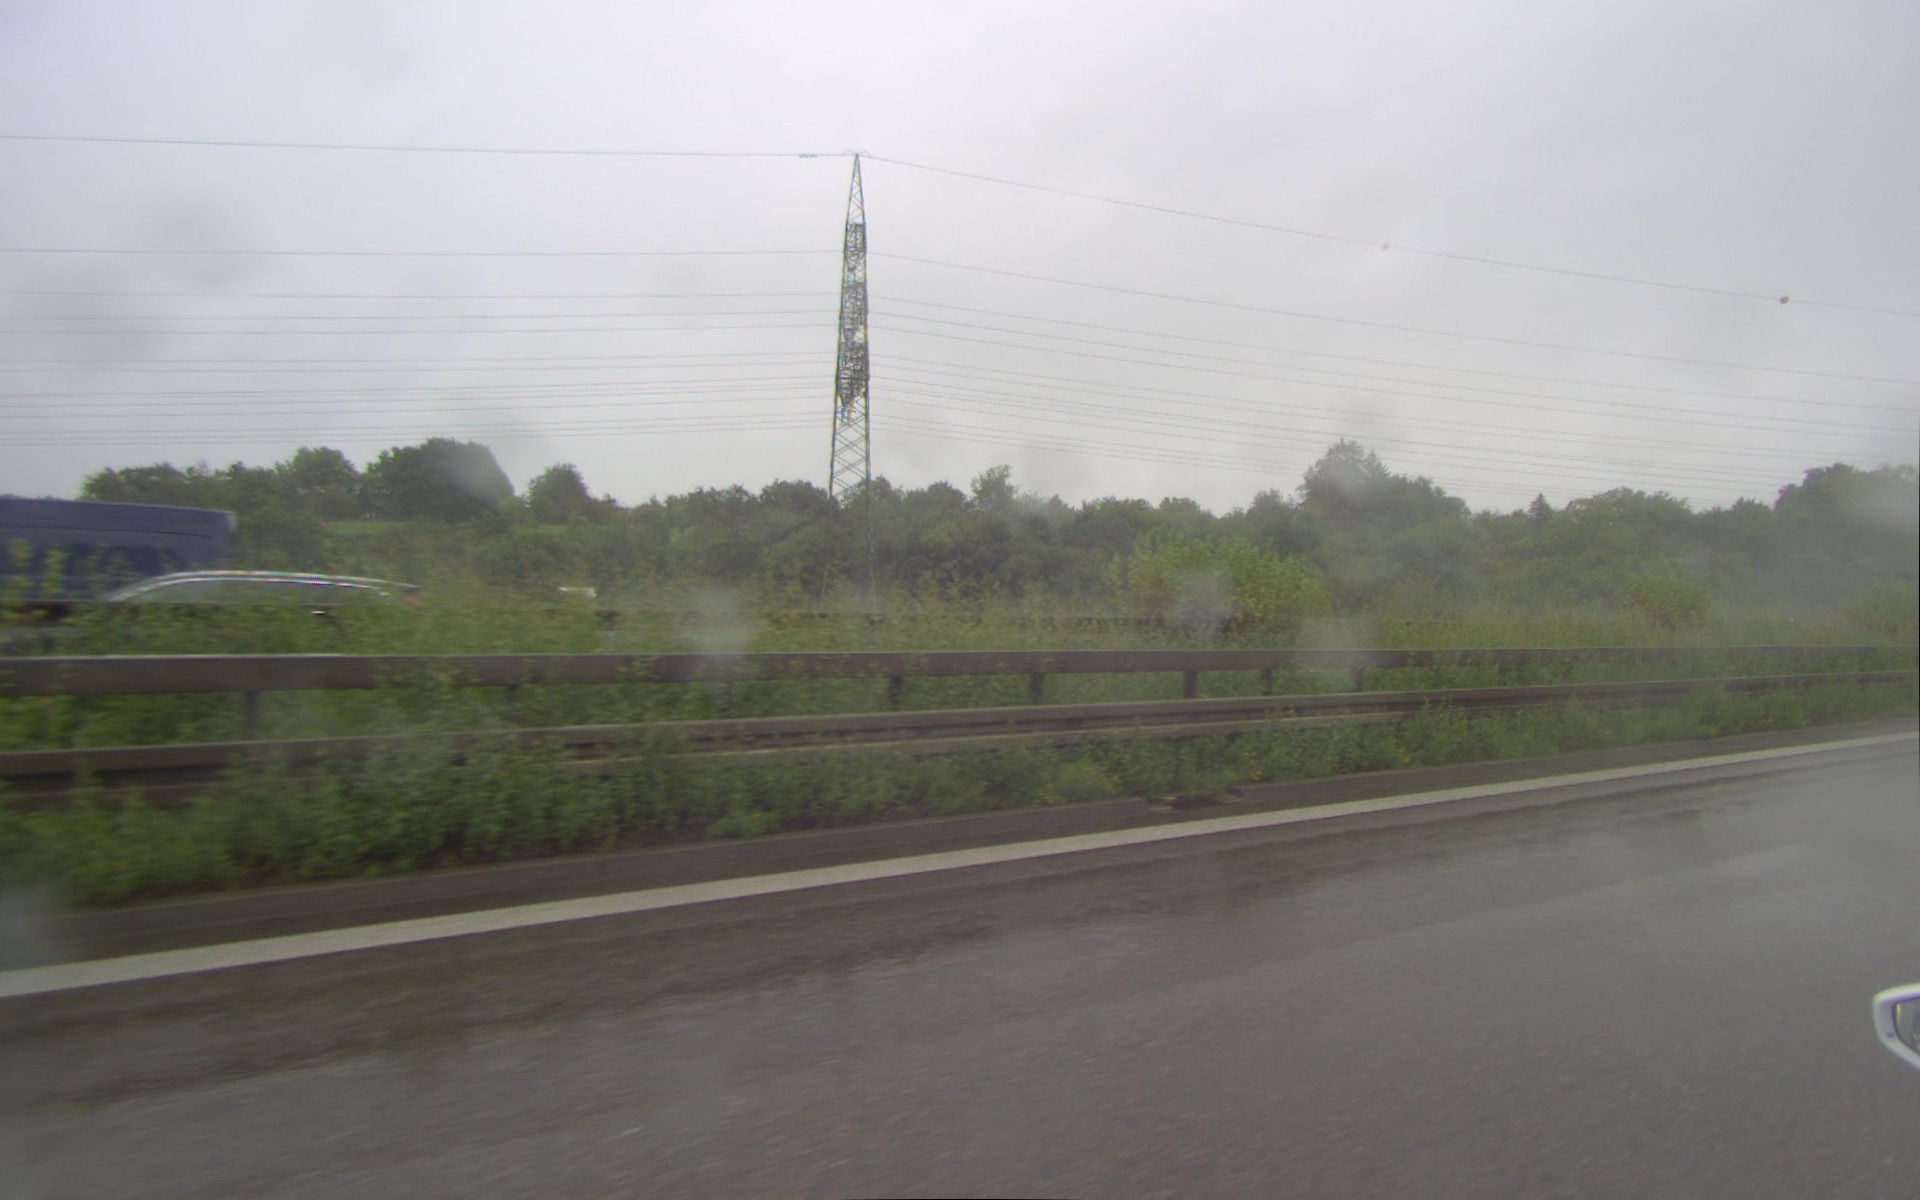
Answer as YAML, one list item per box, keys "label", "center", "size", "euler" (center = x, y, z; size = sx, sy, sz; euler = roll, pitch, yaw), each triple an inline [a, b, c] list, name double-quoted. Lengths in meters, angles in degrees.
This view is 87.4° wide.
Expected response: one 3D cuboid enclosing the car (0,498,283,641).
- label: "car"
  center: [-13.435, -0.483, 15.503]
  size: [4.778, 2.041, 1.811]
  euler: [1, 3, -30]
